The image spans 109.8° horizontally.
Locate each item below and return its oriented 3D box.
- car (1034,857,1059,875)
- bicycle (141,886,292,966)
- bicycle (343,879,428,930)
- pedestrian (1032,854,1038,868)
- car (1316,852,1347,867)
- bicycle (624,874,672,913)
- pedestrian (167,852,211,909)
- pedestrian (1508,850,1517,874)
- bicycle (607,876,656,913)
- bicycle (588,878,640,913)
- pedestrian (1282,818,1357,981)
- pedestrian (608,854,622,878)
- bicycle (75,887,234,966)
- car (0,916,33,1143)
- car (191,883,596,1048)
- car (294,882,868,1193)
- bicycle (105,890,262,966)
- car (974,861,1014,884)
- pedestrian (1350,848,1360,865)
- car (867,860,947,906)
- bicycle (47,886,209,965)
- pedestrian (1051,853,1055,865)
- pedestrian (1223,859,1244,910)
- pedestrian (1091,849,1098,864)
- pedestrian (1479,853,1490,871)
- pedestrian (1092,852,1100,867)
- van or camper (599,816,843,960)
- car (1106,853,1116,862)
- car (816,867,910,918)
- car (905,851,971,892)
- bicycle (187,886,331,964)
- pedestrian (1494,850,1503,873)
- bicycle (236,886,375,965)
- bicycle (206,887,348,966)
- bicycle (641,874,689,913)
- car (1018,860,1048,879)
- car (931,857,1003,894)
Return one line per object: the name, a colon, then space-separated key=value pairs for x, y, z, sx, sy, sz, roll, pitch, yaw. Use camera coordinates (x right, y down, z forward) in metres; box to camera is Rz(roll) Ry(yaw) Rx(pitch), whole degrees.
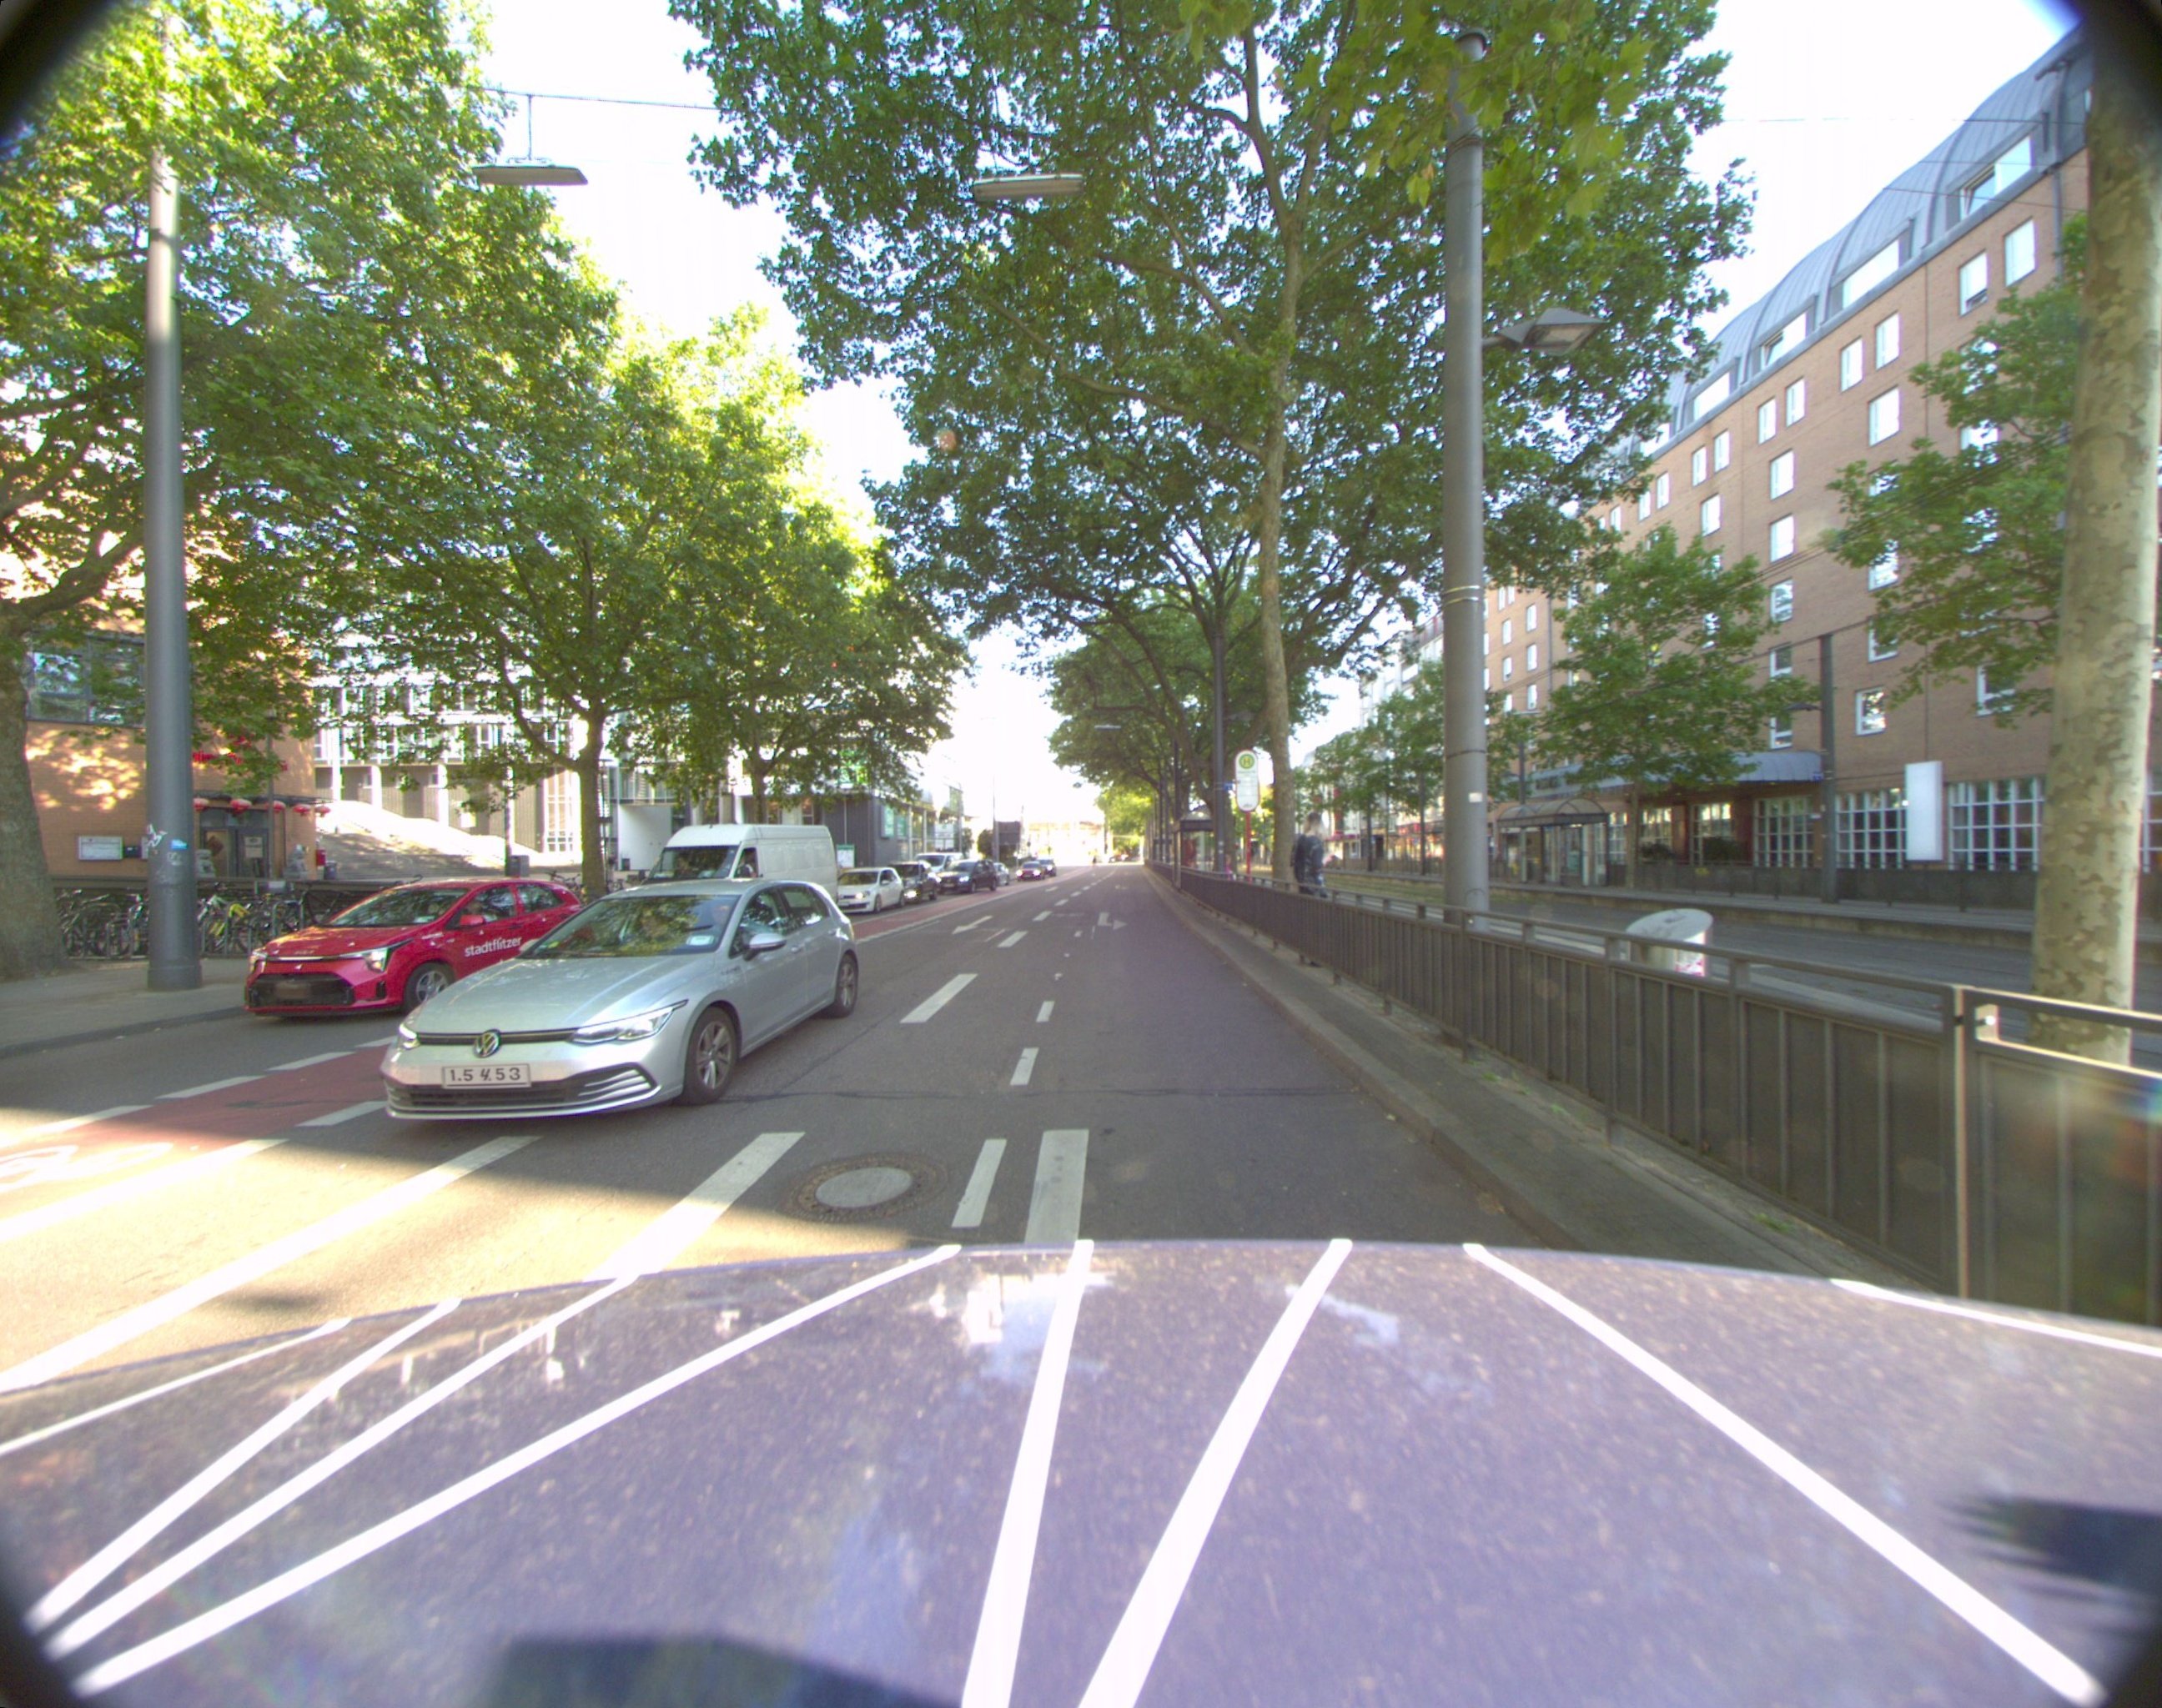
car: x=-3.007 y=1.039 z=67.316 sx=1.801 sy=1.438 sz=4.001 roll=0 pitch=0 yaw=3
bicycle: x=-14.842 y=1.198 z=13.126 sx=0.447 sy=1.187 sz=1.850 roll=0 pitch=0 yaw=1
bicycle: x=-17.882 y=1.285 z=19.594 sx=0.517 sy=1.187 sz=1.790 roll=0 pitch=0 yaw=1
pedestrian: x=-5.321 y=0.812 z=87.724 sx=0.648 sy=1.644 sz=0.643 roll=-1 pitch=1 yaw=1
car: x=24.566 y=0.531 z=74.707 sx=1.760 sy=1.479 sz=4.309 roll=-1 pitch=0 yaw=2
bicycle: x=-14.114 y=1.259 z=24.822 sx=0.495 sy=1.187 sz=1.850 roll=0 pitch=0 yaw=1
pedestrian: x=-31.736 y=0.937 z=27.038 sx=0.875 sy=2.025 sz=0.586 roll=0 pitch=1 yaw=6
pedestrian: x=27.666 y=0.521 z=48.701 sx=0.438 sy=1.511 sz=0.659 roll=0 pitch=1 yaw=23
bicycle: x=-14.658 y=1.304 z=24.820 sx=0.522 sy=1.088 sz=1.797 roll=0 pitch=0 yaw=1
bicycle: x=-15.219 y=1.332 z=24.795 sx=0.516 sy=1.027 sz=1.850 roll=0 pitch=0 yaw=1
pedestrian: x=2.851 y=0.517 z=9.110 sx=0.623 sy=1.873 sz=0.605 roll=-2 pitch=3 yaw=-14
pedestrian: x=-30.218 y=0.785 z=49.311 sx=0.719 sy=1.549 sz=0.639 roll=-1 pitch=1 yaw=-35
bicycle: x=-15.923 y=1.202 z=13.137 sx=0.458 sy=1.187 sz=1.850 roll=0 pitch=0 yaw=1
car: x=-7.993 y=1.171 z=3.015 sx=1.743 sy=1.476 sz=4.251 roll=-1 pitch=0 yaw=0
car: x=-7.968 y=1.174 z=9.341 sx=1.606 sy=1.449 sz=3.651 roll=-1 pitch=0 yaw=0
car: x=-3.217 y=1.054 z=6.022 sx=1.733 sy=1.432 sz=4.000 roll=-2 pitch=0 yaw=2
bicycle: x=-15.424 y=1.235 z=13.135 sx=0.485 sy=1.118 sz=1.850 roll=0 pitch=0 yaw=1
car: x=-5.489 y=1.163 z=48.381 sx=1.801 sy=1.369 sz=4.001 roll=0 pitch=0 yaw=3
pedestrian: x=31.216 y=0.289 z=86.566 sx=0.806 sy=2.002 sz=0.763 roll=-1 pitch=1 yaw=1
car: x=-6.722 y=1.082 z=29.826 sx=1.818 sy=1.610 sz=4.229 roll=-1 pitch=0 yaw=5
bicycle: x=-16.386 y=1.196 z=13.140 sx=0.435 sy=1.187 sz=1.850 roll=0 pitch=0 yaw=1
pedestrian: x=-3.842 y=0.701 z=104.507 sx=0.611 sy=1.644 sz=0.583 roll=-1 pitch=1 yaw=1
pedestrian: x=3.933 y=0.776 z=19.624 sx=0.500 sy=1.308 sz=0.419 roll=0 pitch=1 yaw=8
pedestrian: x=1.870 y=0.349 z=105.686 sx=0.772 sy=2.002 sz=0.831 roll=0 pitch=1 yaw=12
pedestrian: x=30.954 y=0.618 z=58.288 sx=0.519 sy=1.427 sz=0.516 roll=0 pitch=1 yaw=4
pedestrian: x=2.071 y=0.738 z=103.300 sx=0.772 sy=2.002 sz=0.831 roll=-2 pitch=1 yaw=16
van or camper: x=-7.545 y=0.613 z=17.030 sx=1.998 sy=2.563 sz=6.575 roll=-2 pitch=0 yaw=3
car: x=6.961 y=0.789 z=176.384 sx=1.997 sy=2.002 sz=4.002 roll=0 pitch=0 yaw=8
car: x=-7.012 y=1.189 z=24.871 sx=1.682 sy=1.420 sz=4.001 roll=-1 pitch=0 yaw=3
car: x=-7.491 y=0.860 z=40.371 sx=1.965 sy=1.983 sz=4.960 roll=-1 pitch=0 yaw=7
bicycle: x=-14.325 y=1.199 z=13.326 sx=0.484 sy=1.187 sz=1.850 roll=0 pitch=0 yaw=1
pedestrian: x=26.819 y=0.478 z=48.856 sx=0.438 sy=1.497 sz=0.659 roll=0 pitch=1 yaw=23
bicycle: x=-13.317 y=1.192 z=13.130 sx=0.482 sy=1.187 sz=1.850 roll=0 pitch=0 yaw=1
bicycle: x=-13.820 y=1.203 z=13.136 sx=0.448 sy=1.187 sz=1.850 roll=0 pitch=0 yaw=1
bicycle: x=-13.571 y=1.266 z=24.843 sx=0.522 sy=1.187 sz=1.850 roll=0 pitch=0 yaw=1
car: x=-3.648 y=1.152 z=58.380 sx=1.801 sy=1.369 sz=4.001 roll=0 pitch=0 yaw=3
car: x=-5.485 y=1.012 z=37.126 sx=1.964 sy=1.610 sz=4.335 roll=-1 pitch=0 yaw=14
